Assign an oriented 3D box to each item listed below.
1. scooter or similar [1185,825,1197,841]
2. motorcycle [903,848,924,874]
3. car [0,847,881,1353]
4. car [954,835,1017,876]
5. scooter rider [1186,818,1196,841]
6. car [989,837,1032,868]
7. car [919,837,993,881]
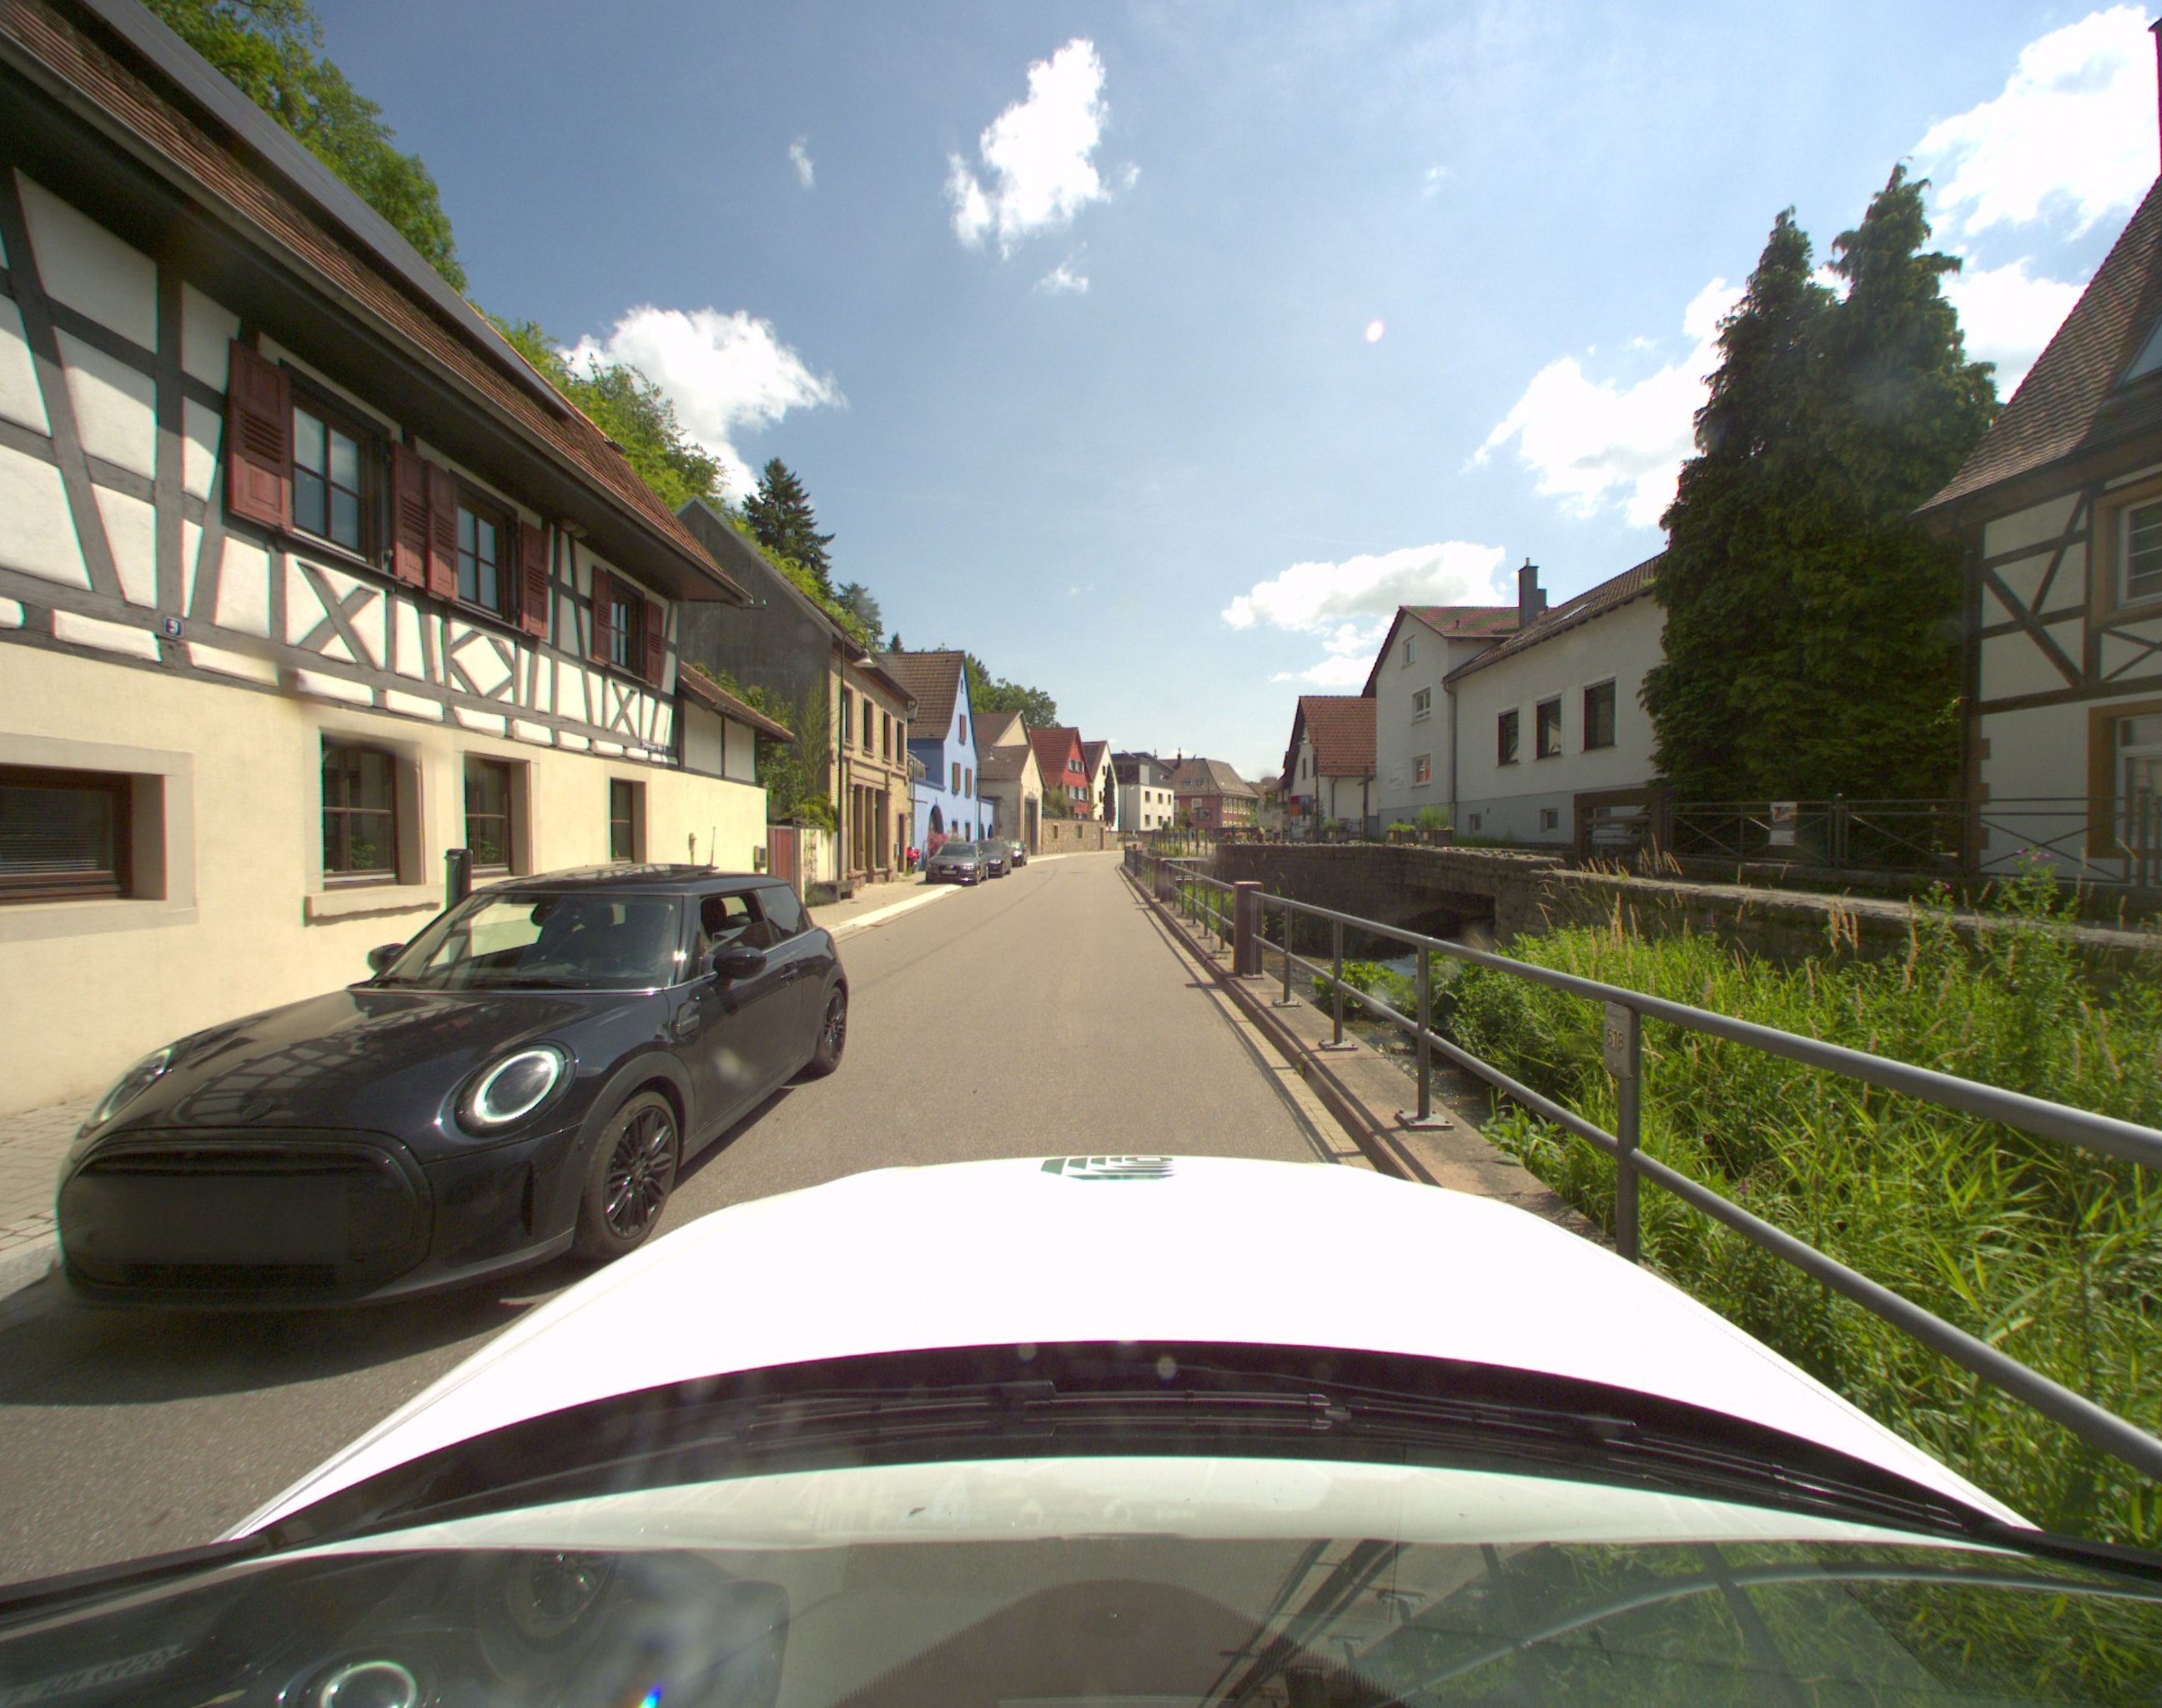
[{"bbox_3d":[8.304,-1.569,61.457,0.639,1.142,1.812,-1,1,1],"label":"scooter or similar"},{"bbox_3d":[-6.710,0.263,32.687,0.416,1.001,1.858,5,1,-1],"label":"motorcycle"},{"bbox_3d":[-2.506,0.721,4.617,1.694,1.465,4.433,0,0,-1],"label":"car"},{"bbox_3d":[-3.941,0.013,34.377,1.878,1.463,4.672,3,2,2],"label":"car"},{"bbox_3d":[8.327,-1.869,61.568,0.639,1.731,0.554,1,1,1],"label":"scooter rider"},{"bbox_3d":[-3.814,-0.130,44.598,1.709,1.529,3.861,-1,2,4],"label":"car"},{"bbox_3d":[-4.414,0.146,29.449,1.950,1.465,4.545,1,1,0],"label":"car"}]
